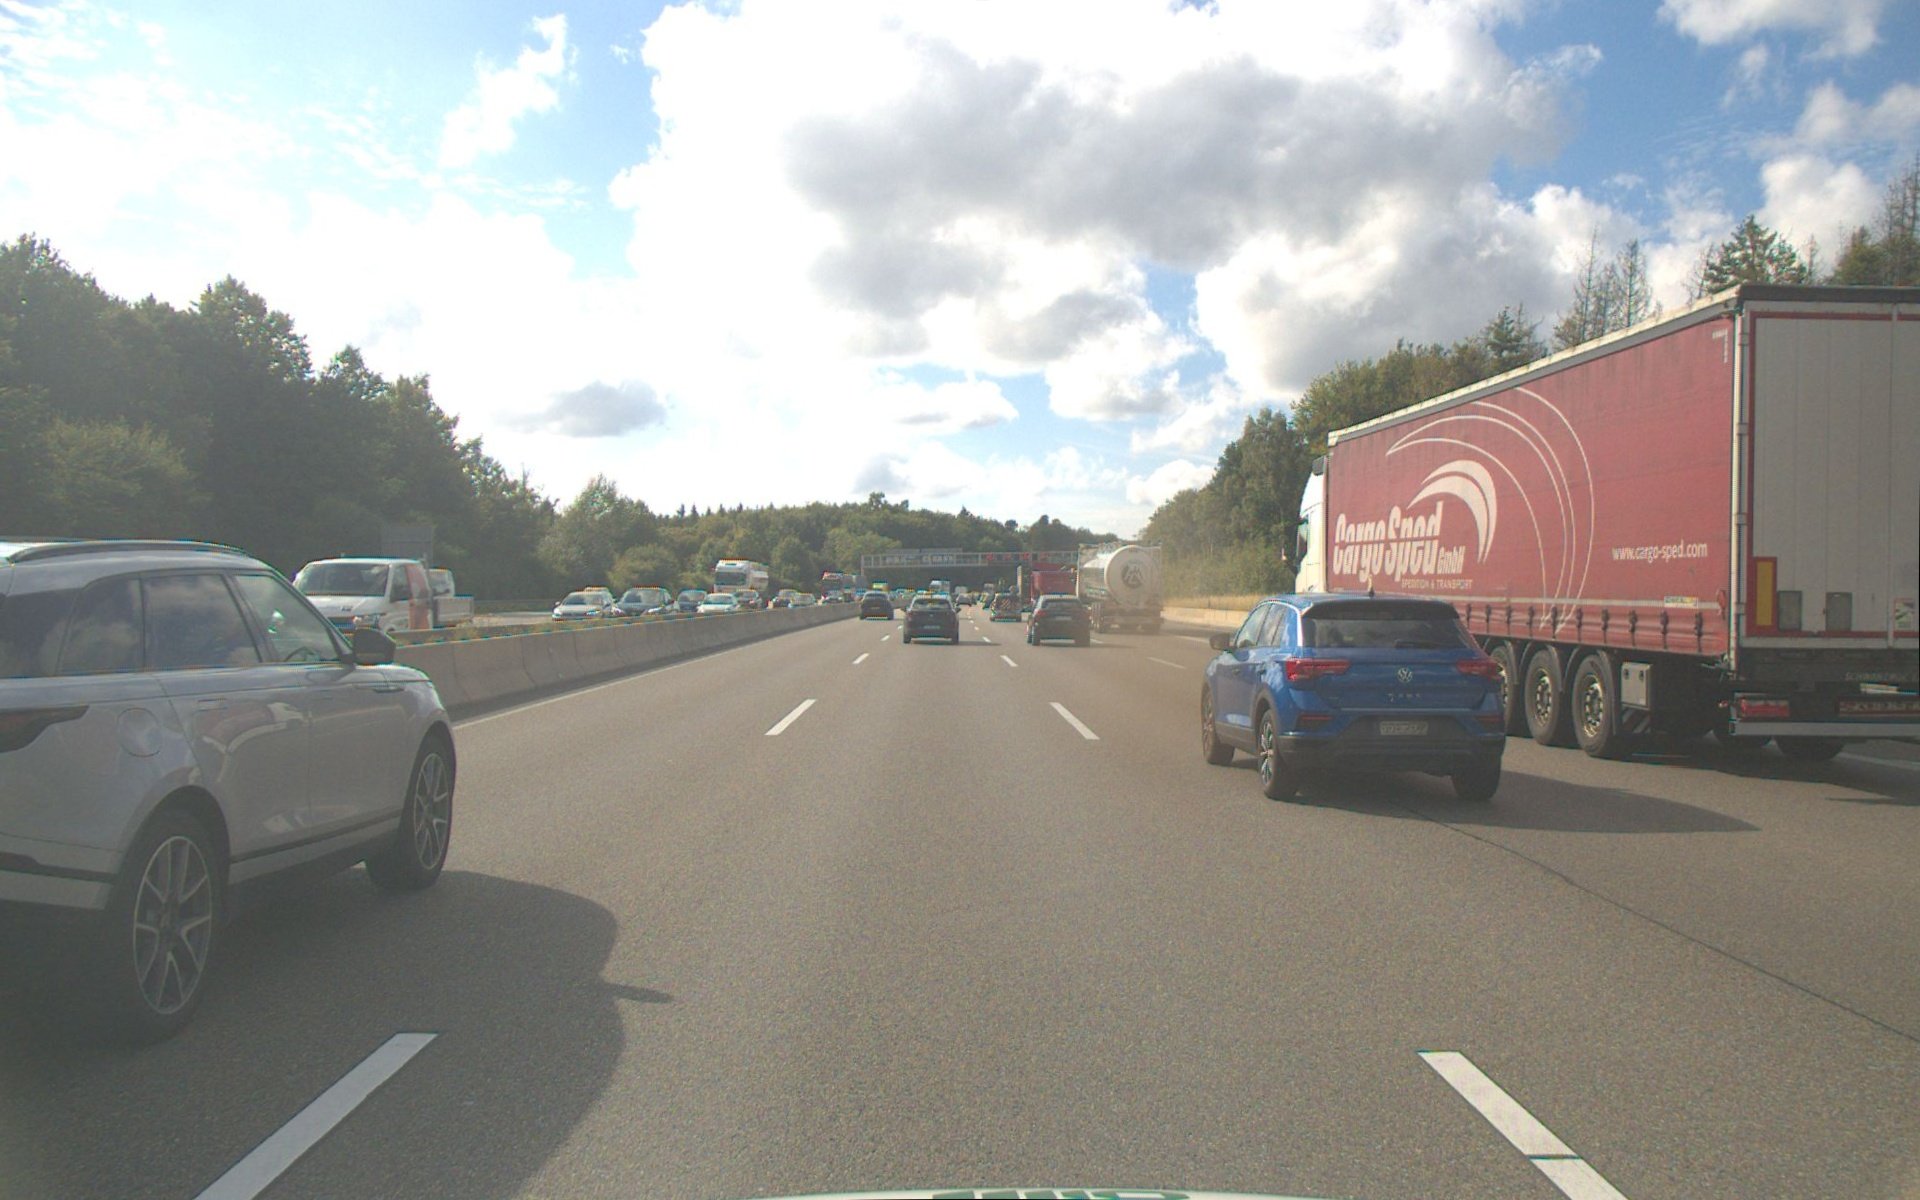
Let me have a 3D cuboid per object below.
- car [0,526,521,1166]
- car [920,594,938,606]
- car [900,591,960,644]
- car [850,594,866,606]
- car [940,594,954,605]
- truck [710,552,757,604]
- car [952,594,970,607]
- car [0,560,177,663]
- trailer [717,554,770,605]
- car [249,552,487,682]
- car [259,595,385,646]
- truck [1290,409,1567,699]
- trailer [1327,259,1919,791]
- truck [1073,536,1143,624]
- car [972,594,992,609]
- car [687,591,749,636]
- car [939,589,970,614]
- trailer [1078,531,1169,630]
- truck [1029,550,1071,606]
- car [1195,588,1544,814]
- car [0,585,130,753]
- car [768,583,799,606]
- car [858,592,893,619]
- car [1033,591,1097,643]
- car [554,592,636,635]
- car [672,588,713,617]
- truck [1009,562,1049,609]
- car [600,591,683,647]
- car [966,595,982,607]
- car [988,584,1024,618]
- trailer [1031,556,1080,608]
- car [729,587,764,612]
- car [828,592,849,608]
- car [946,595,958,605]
[{"bbox_3d":[-3.473,0.600,6.791,1.965,1.644,5.300,1,0,-1],"label":"car"},{"bbox_3d":[-3.750,0.004,203.731,2.034,1.483,4.001,-1,0,1],"label":"car"},{"bbox_3d":[-0.913,0.504,51.395,1.785,1.573,3.999,0,0,-1],"label":"car"},{"bbox_3d":[-13.030,0.007,211.416,1.570,1.427,4.002,4,0,3],"label":"car"},{"bbox_3d":[-1.839,-0.096,235.275,1.890,1.483,4.391,-1,0,-1],"label":"car"},{"bbox_3d":[-17.948,-1.713,131.452,2.730,4.014,6.445,0,0,0],"label":"truck"},{"bbox_3d":[0.119,0.027,200.087,2.035,1.483,3.999,-1,0,-2],"label":"car"},{"bbox_3d":[-17.830,0.205,33.017,1.910,1.884,5.341,-1,0,-1],"label":"car"},{"bbox_3d":[-17.878,-1.691,137.483,2.730,4.014,12.253,0,0,0],"label":"trailer"},{"bbox_3d":[-10.296,0.244,29.366,2.115,2.049,5.822,-1,0,0],"label":"car"},{"bbox_3d":[-17.887,0.543,46.578,1.827,1.325,4.549,-1,0,-1],"label":"car"},{"bbox_3d":[7.264,-0.671,26.502,2.717,4.116,5.772,0,0,-1],"label":"truck"},{"bbox_3d":[7.355,-0.623,19.714,2.717,4.116,13.711,0,0,-1],"label":"trailer"},{"bbox_3d":[6.760,-0.889,76.146,2.595,3.890,6.081,0,0,-1],"label":"truck"},{"bbox_3d":[2.197,0.113,168.372,1.903,1.483,3.999,-1,0,-1],"label":"car"},{"bbox_3d":[-11.020,0.585,75.629,2.127,1.911,4.980,-1,0,-1],"label":"car"},{"bbox_3d":[-0.318,0.081,102.801,1.785,1.483,4.001,-1,0,1],"label":"car"},{"bbox_3d":[6.794,-0.798,70.505,2.595,3.833,11.858,0,0,-1],"label":"trailer"},{"bbox_3d":[6.326,-1.558,116.818,2.654,3.783,5.818,1,1,0],"label":"truck"},{"bbox_3d":[3.180,0.689,13.790,1.737,1.557,4.457,-1,0,-1],"label":"car"},{"bbox_3d":[-10.202,0.676,15.945,2.127,1.597,4.549,-1,0,-1],"label":"car"},{"bbox_3d":[-13.930,-0.427,130.769,1.817,1.699,5.210,-1,1,0],"label":"car"},{"bbox_3d":[-4.886,0.279,95.855,1.903,1.483,3.999,-1,0,-2],"label":"car"},{"bbox_3d":[3.183,0.497,50.899,1.784,1.483,4.001,-1,0,1],"label":"car"},{"bbox_3d":[-13.525,0.469,61.610,1.953,1.510,5.131,-1,0,-1],"label":"car"},{"bbox_3d":[-14.442,0.122,89.539,1.595,1.538,4.000,0,0,-1],"label":"car"},{"bbox_3d":[6.173,-1.272,148.890,3.055,4.003,10.410,-1,0,-1],"label":"truck"},{"bbox_3d":[-10.103,0.575,52.754,1.874,1.669,4.241,-1,0,-1],"label":"car"},{"bbox_3d":[1.937,0.138,223.562,2.035,1.483,3.999,-1,0,-2],"label":"car"},{"bbox_3d":[2.604,0.057,94.624,1.855,1.889,4.100,1,0,-1],"label":"car"},{"bbox_3d":[6.372,-1.240,111.701,2.654,3.287,9.733,1,1,0],"label":"trailer"},{"bbox_3d":[-14.406,-0.071,111.699,1.822,1.648,4.747,0,0,-1],"label":"car"},{"bbox_3d":[-13.274,-0.032,180.399,1.953,1.693,4.686,-1,0,-1],"label":"car"},{"bbox_3d":[-1.264,-0.012,257.540,1.890,1.483,3.963,-1,0,-1],"label":"car"}]
